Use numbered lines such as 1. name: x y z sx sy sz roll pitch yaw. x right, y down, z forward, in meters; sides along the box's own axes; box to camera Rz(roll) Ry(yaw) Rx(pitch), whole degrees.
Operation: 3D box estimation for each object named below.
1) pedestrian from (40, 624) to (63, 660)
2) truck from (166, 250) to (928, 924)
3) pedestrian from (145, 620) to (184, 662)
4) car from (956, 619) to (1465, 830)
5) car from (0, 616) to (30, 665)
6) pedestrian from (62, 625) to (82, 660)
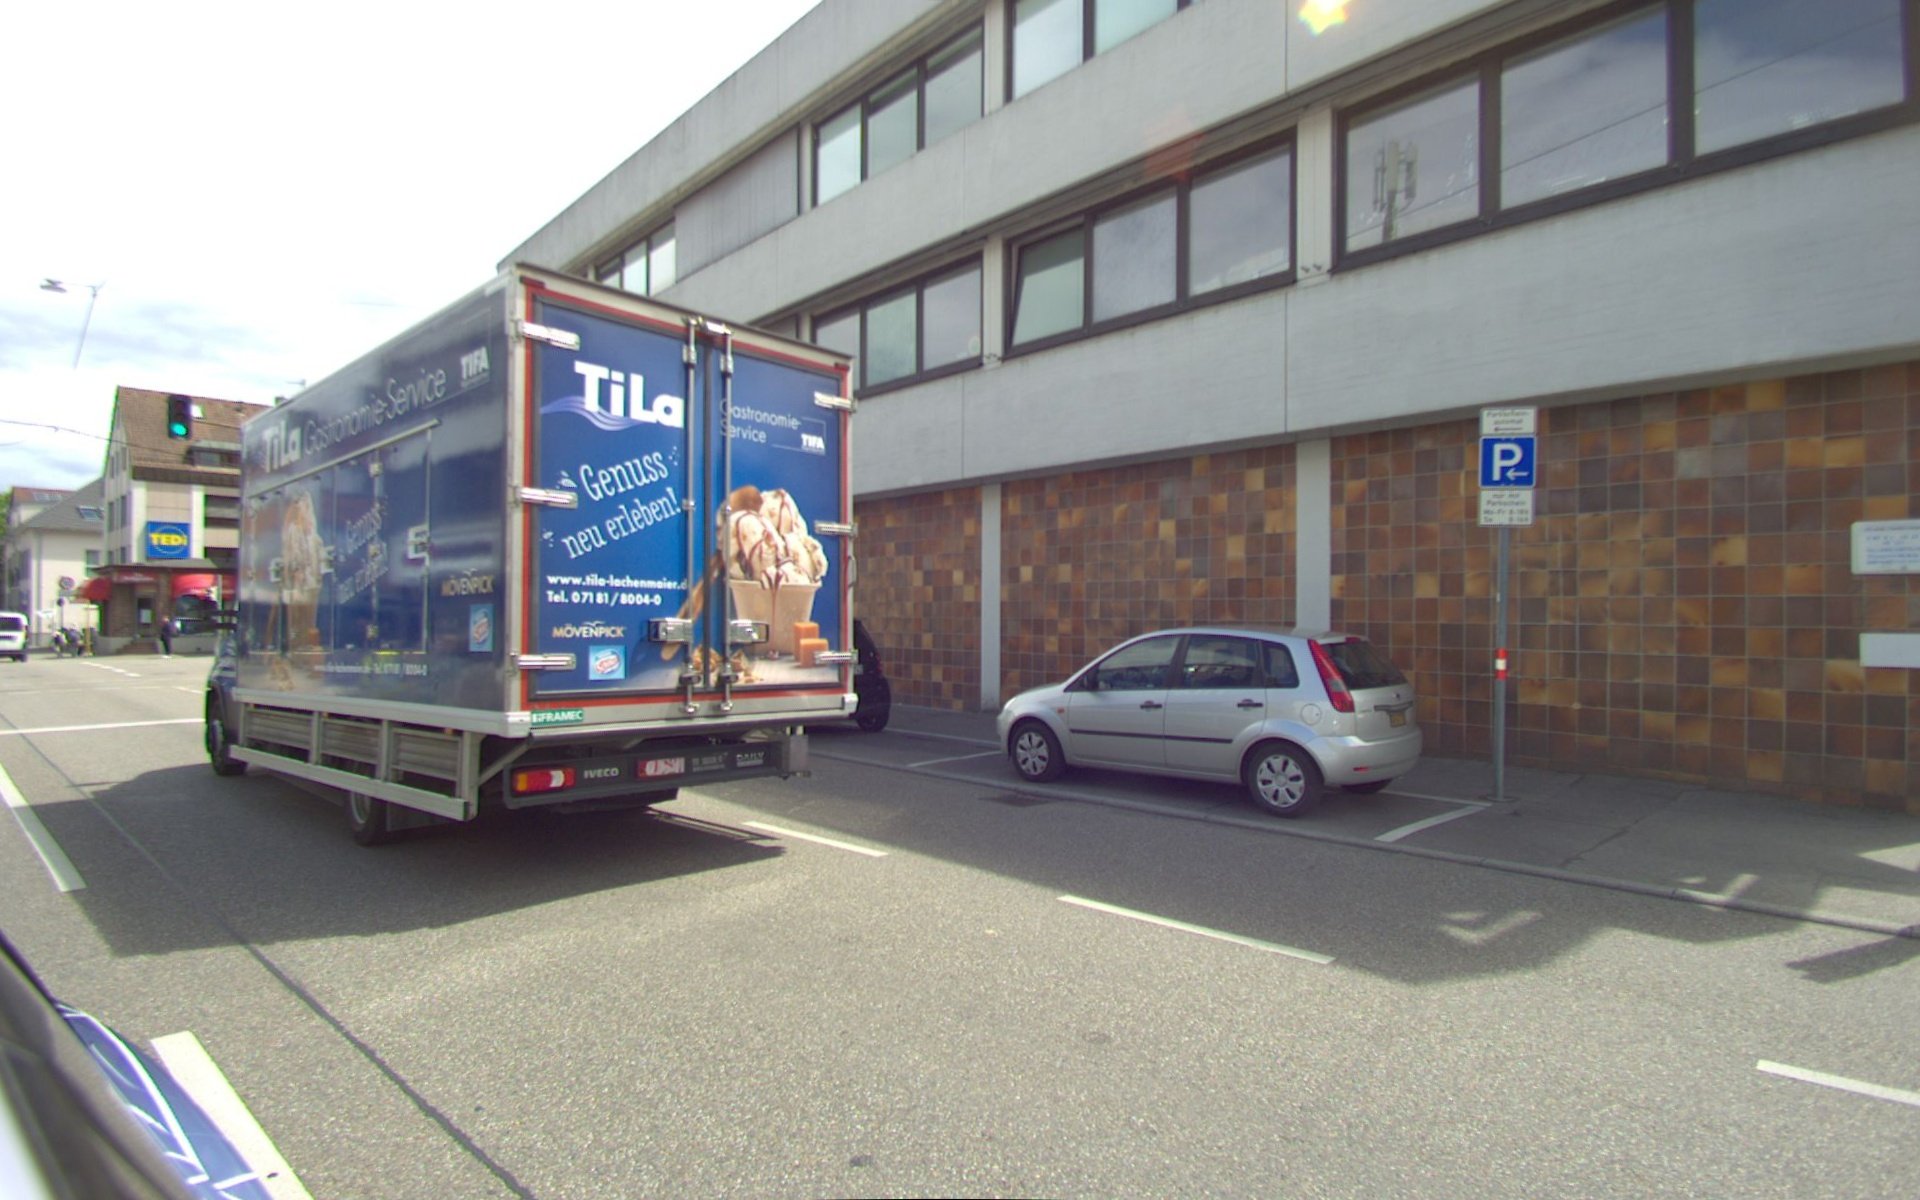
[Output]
1. pedestrian: -44.506 2.054 49.597 0.767 1.708 0.797 2 -3 -41
2. truck: -4.106 0.026 8.497 8.089 3.116 2.822 -1 -2 43
3. pedestrian: -33.136 1.696 42.163 0.839 1.736 0.906 0 -2 1
4. car: 2.038 0.918 9.097 4.149 1.433 1.702 -2 -1 45
5. car: -37.520 1.559 39.175 4.278 1.835 1.924 -2 -2 43
6. pedestrian: -43.984 2.084 50.128 0.673 1.729 0.878 2 -3 -41
